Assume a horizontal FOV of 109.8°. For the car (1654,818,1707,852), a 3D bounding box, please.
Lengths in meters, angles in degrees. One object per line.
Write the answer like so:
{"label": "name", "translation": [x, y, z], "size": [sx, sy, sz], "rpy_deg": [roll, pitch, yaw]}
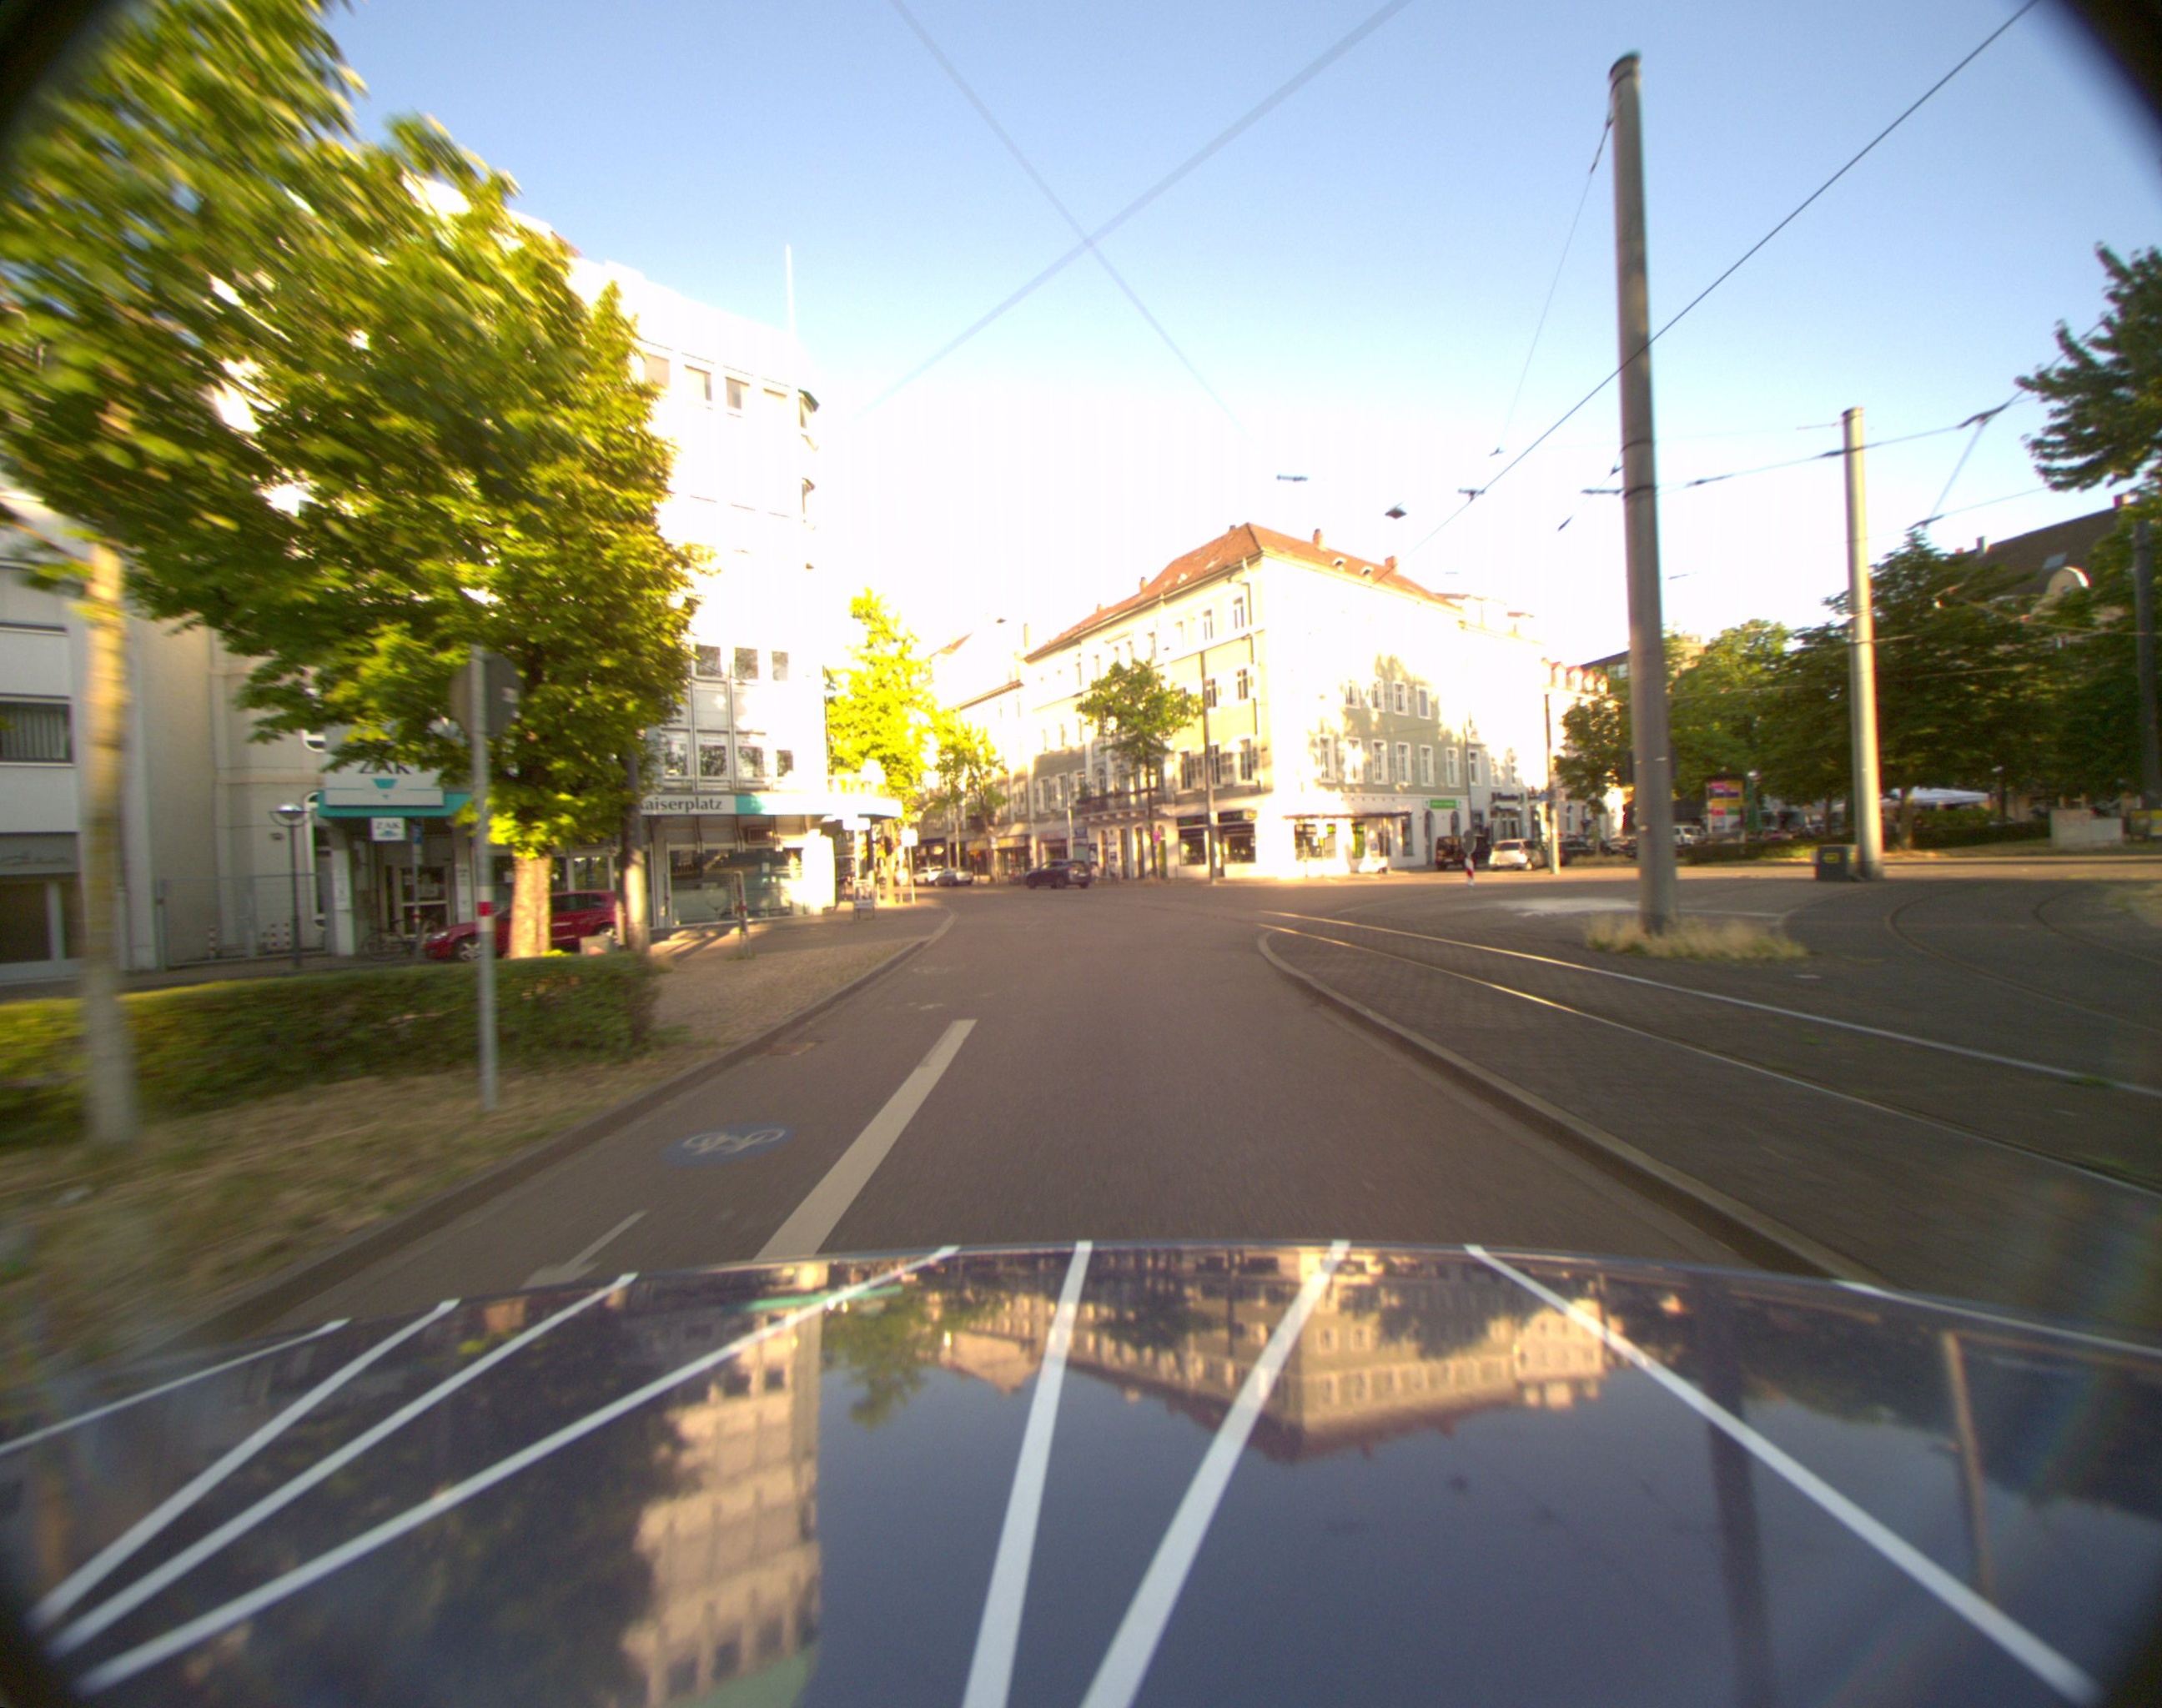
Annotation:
{"label": "car", "translation": [39.466, -1.264, 49.989], "size": [4.007, 1.987, 1.855], "rpy_deg": [-3, -1, -40]}

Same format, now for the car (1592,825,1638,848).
{"label": "car", "translation": [41.771, -1.380, 59.414], "size": [4.007, 1.633, 1.855], "rpy_deg": [-3, -1, -40]}

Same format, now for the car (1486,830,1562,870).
{"label": "car", "translation": [21.563, -0.213, 36.957], "size": [4.007, 1.696, 1.855], "rpy_deg": [-3, -1, -40]}

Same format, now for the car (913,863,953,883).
{"label": "car", "translation": [-12.664, 1.632, 64.789], "size": [1.806, 1.543, 3.958], "rpy_deg": [-3, -1, -36]}

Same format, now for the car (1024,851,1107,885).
{"label": "car", "translation": [-0.956, 0.825, 42.880], "size": [2.004, 1.673, 4.731], "rpy_deg": [-3, -1, -42]}

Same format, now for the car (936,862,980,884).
{"label": "car", "translation": [-9.798, 1.521, 60.335], "size": [1.727, 1.543, 3.958], "rpy_deg": [-3, -1, -36]}

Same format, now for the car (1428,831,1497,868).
{"label": "car", "translation": [21.938, -0.268, 43.652], "size": [4.007, 1.892, 1.995], "rpy_deg": [-3, -1, -40]}

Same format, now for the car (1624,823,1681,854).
{"label": "car", "translation": [34.969, -0.980, 46.484], "size": [4.007, 1.696, 1.855], "rpy_deg": [-3, -1, -40]}

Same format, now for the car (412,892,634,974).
{"label": "car", "translation": [-13.083, 1.771, 18.024], "size": [4.007, 1.441, 1.844], "rpy_deg": [-3, 0, -38]}

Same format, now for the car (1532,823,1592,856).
{"label": "car", "translation": [30.657, -0.923, 48.407], "size": [4.007, 1.892, 1.995], "rpy_deg": [-3, -1, -40]}

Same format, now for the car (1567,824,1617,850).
{"label": "car", "translation": [36.414, -1.217, 54.081], "size": [4.007, 1.696, 1.855], "rpy_deg": [-3, -1, -40]}
